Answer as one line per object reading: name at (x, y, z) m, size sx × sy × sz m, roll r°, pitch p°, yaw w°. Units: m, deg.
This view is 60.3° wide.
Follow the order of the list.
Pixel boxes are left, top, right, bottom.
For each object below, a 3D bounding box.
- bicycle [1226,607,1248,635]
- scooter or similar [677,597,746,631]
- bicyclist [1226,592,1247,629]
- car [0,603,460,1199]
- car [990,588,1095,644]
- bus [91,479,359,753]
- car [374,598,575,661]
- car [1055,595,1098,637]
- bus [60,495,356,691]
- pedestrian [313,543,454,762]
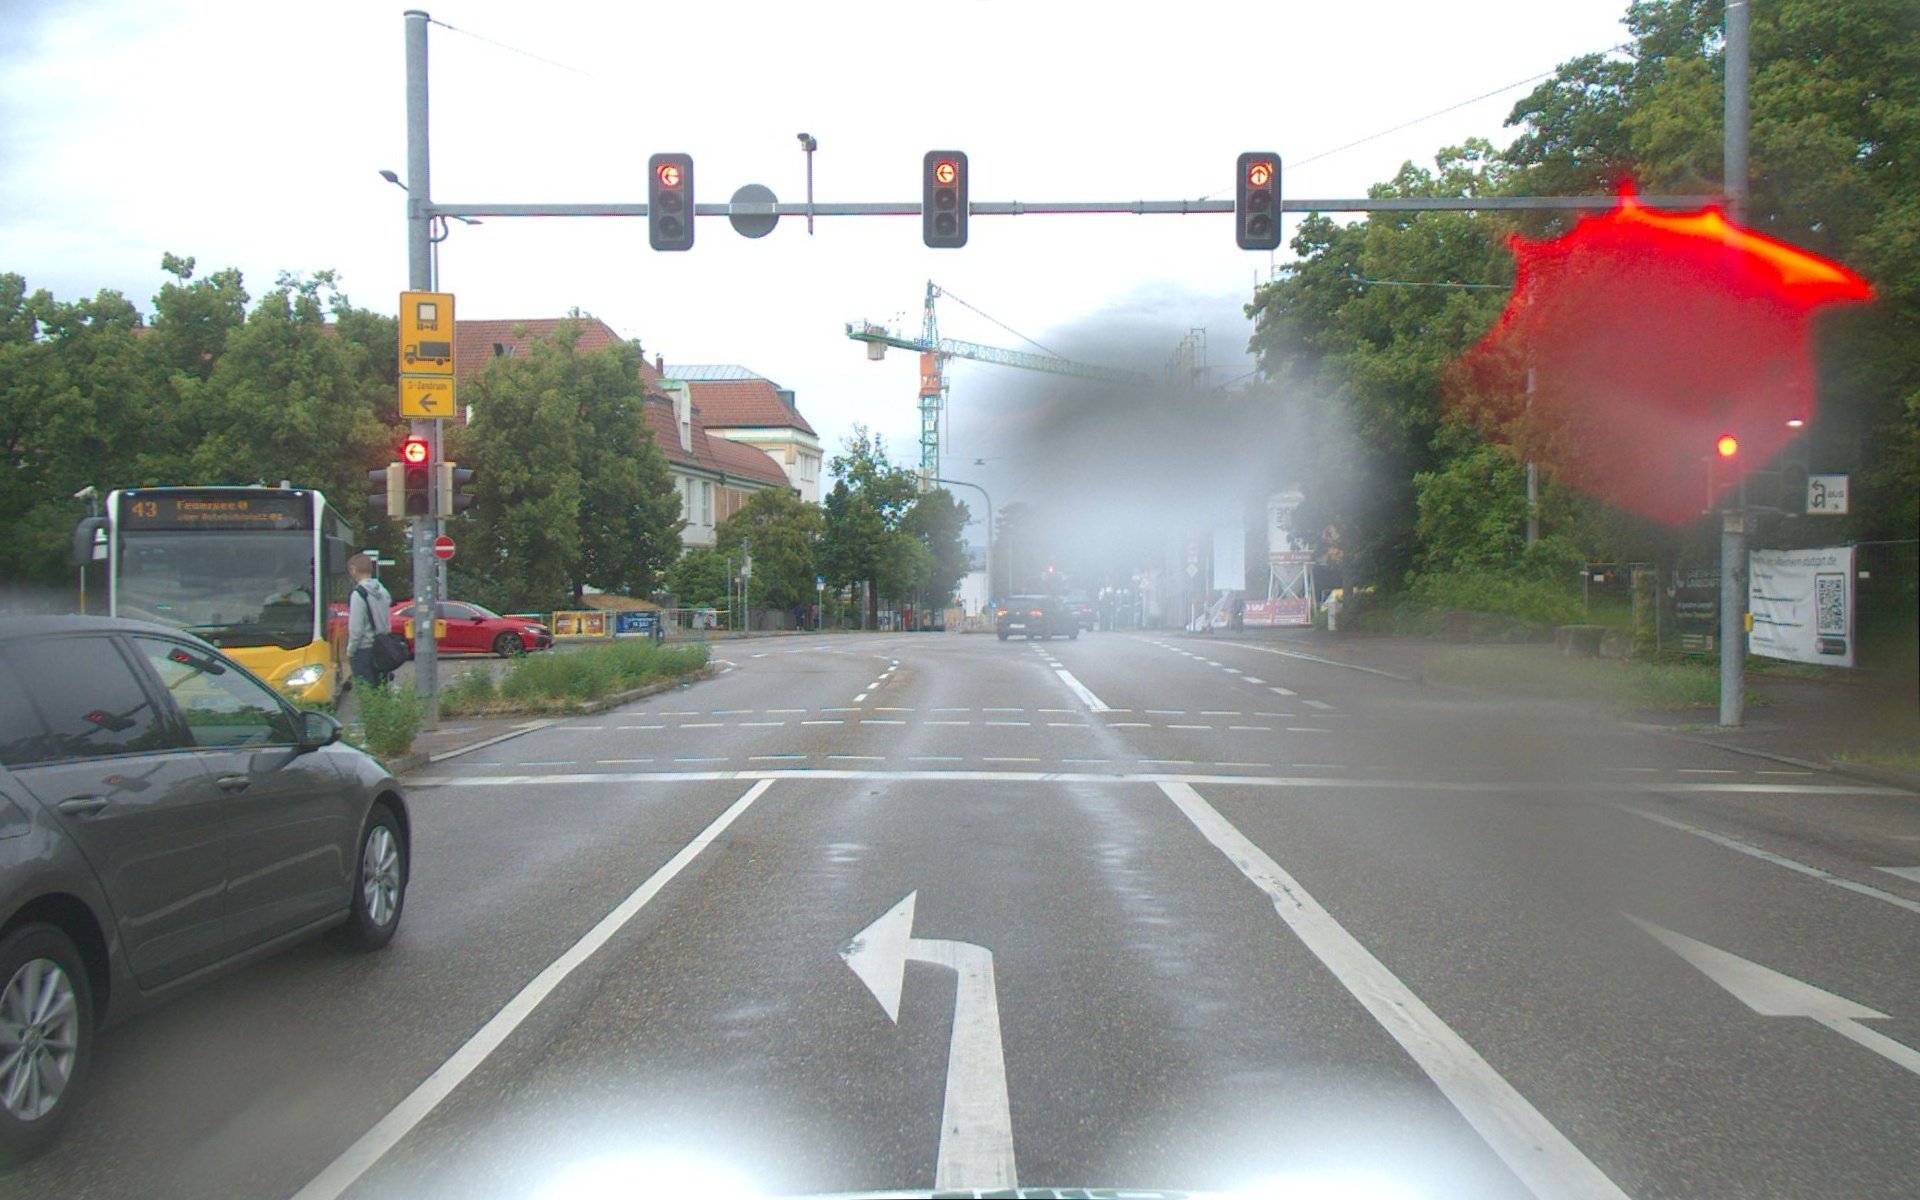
bicycle at (11.934, 0.916, 71.394) m, size 0.705 × 1.214 × 1.756 m, roll 1°, pitch -1°, yaw 2°
scooter or similar at (-11.439, 0.640, 76.251) m, size 3.025 × 1.465 × 0.948 m, roll -1°, pitch 0°, yaw -1°
bicyclist at (11.936, 0.453, 71.430) m, size 0.705 × 1.591 × 1.143 m, roll 1°, pitch -2°, yaw 2°
car at (-3.247, 0.789, 5.614) m, size 1.769 × 1.454 × 4.197 m, roll -3°, pitch 0°, yaw 0°
car at (2.729, 0.545, 53.793) m, size 1.954 × 1.736 × 3.995 m, roll 0°, pitch -2°, yaw 26°
bus at (-10.435, 0.166, 24.119) m, size 2.847 × 3.157 × 9.693 m, roll -1°, pitch 0°, yaw -22°
car at (-11.701, 0.700, 40.113) m, size 4.421 × 1.450 × 1.996 m, roll 0°, pitch 0°, yaw -9°
car at (5.997, 0.866, 85.527) m, size 1.904 × 2.056 × 4.550 m, roll 1°, pitch -2°, yaw 0°
bus at (-14.976, -0.113, 32.497) m, size 2.873 × 3.365 × 8.443 m, roll -1°, pitch 0°, yaw -42°
pedestrian at (-5.645, 0.501, 16.239) m, size 0.920 × 2.048 × 0.848 m, roll -3°, pitch 0°, yaw 6°
